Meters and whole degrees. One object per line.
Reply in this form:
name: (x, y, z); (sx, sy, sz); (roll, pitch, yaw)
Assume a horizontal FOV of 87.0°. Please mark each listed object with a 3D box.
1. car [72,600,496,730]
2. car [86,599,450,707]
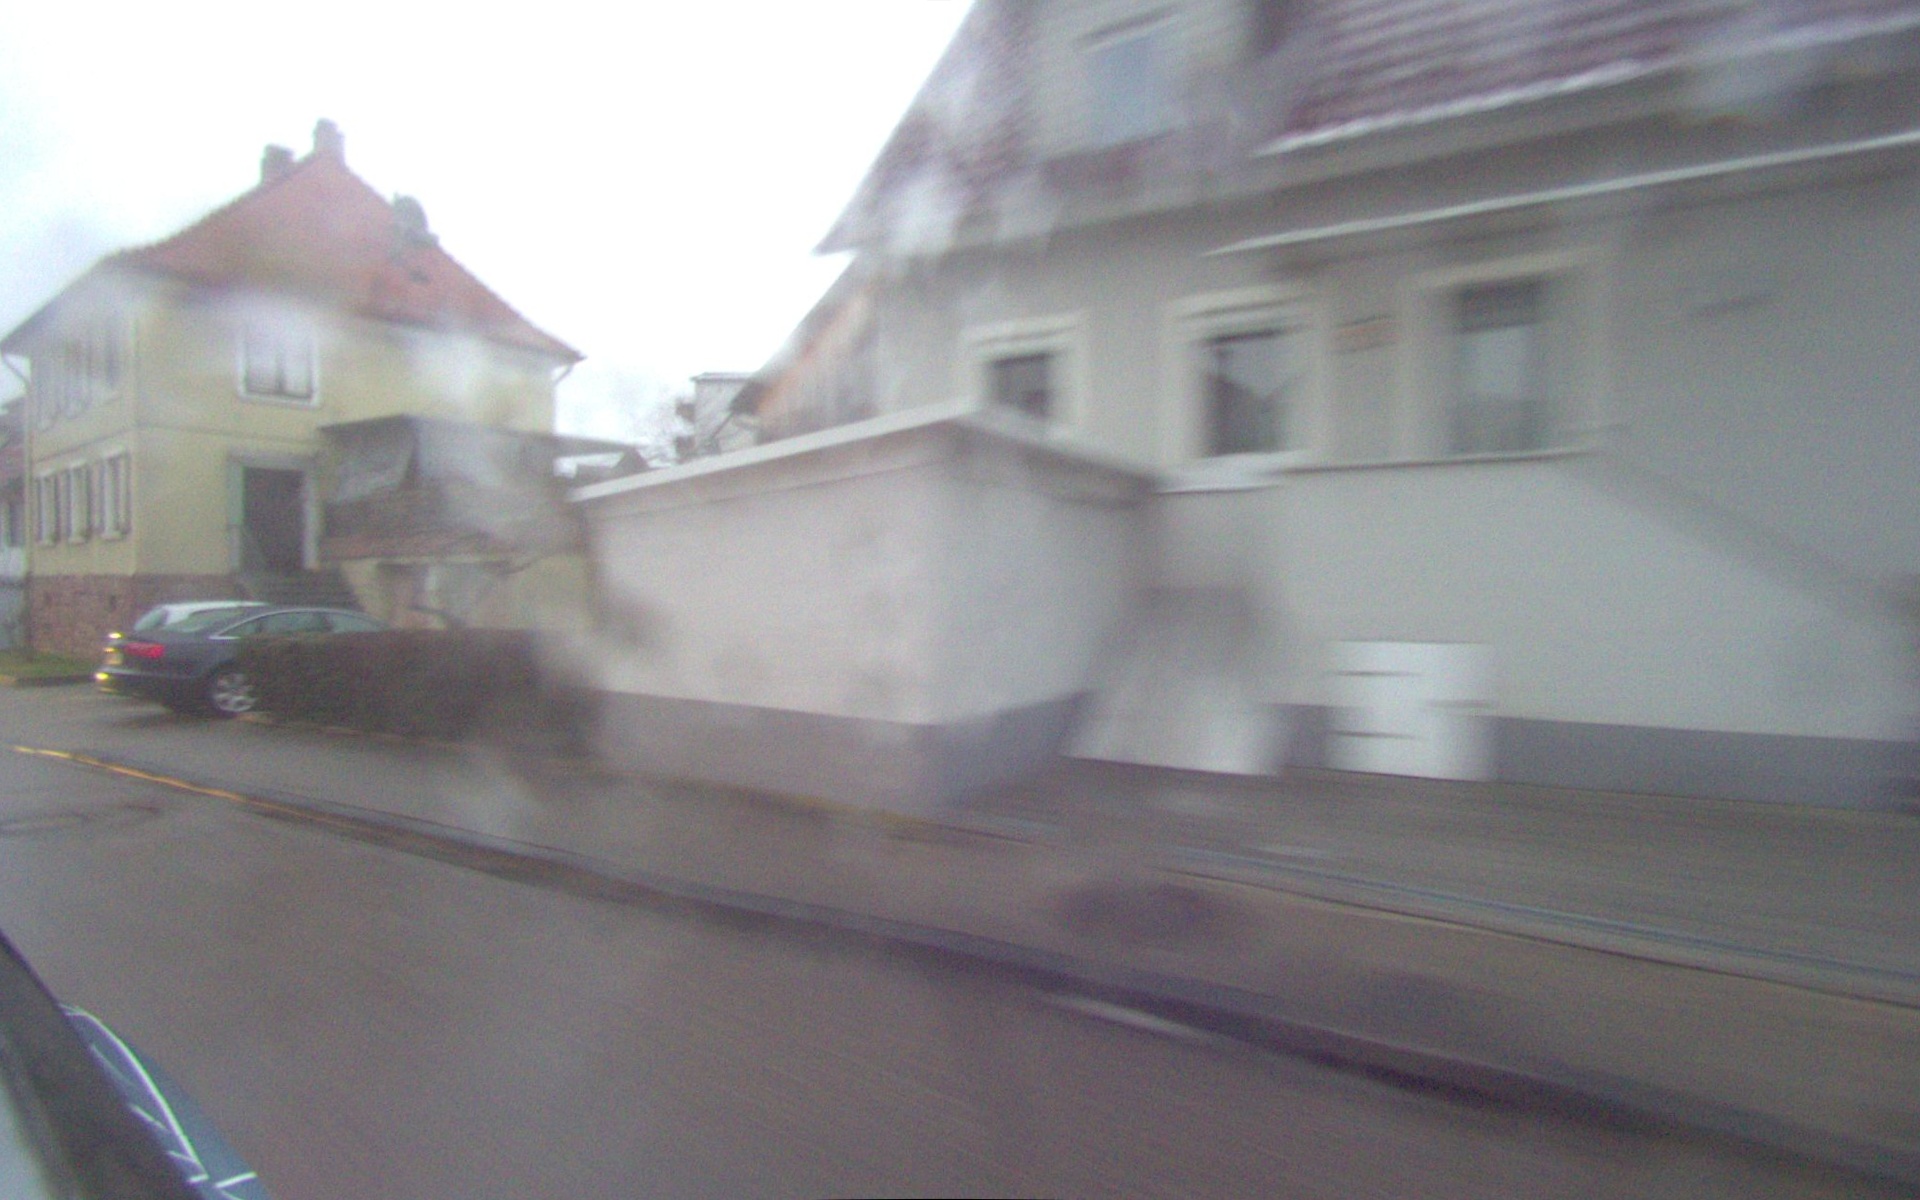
car: (-9.211, 0.763, 14.202); (1.995, 1.481, 4.555); (0, 0, 34)
car: (-11.047, 0.747, 16.468); (1.889, 1.481, 4.559); (0, 0, 38)
